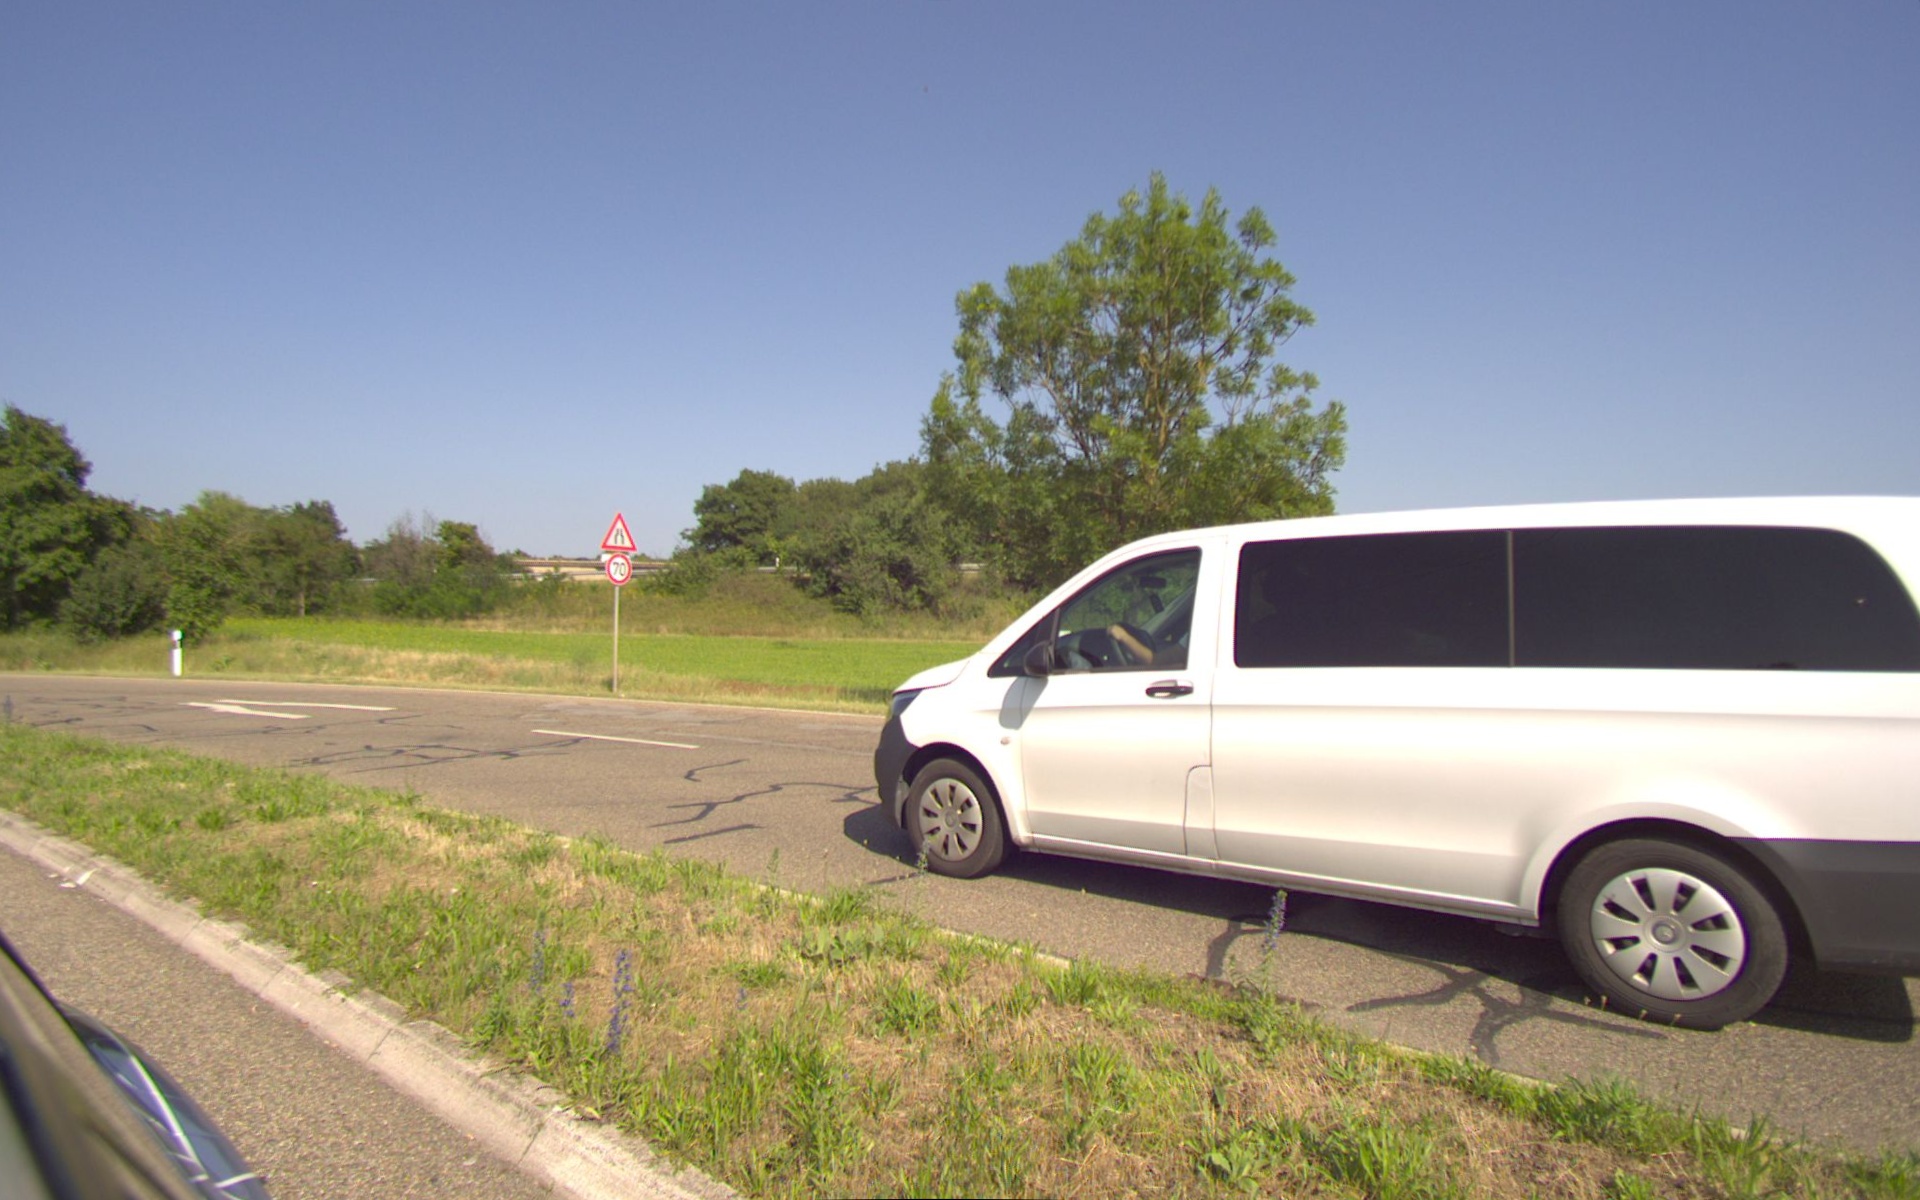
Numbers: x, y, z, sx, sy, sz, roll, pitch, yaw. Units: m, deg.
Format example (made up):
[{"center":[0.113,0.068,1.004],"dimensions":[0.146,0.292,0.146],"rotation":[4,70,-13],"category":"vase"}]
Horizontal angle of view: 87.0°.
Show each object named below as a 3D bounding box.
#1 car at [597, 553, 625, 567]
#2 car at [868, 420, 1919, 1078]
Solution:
[{"center":[-66.281,-7.626,192.292],"dimensions":[4.633,2.539,2.268],"rotation":[-1,0,7],"category":"car"},{"center":[2.023,0.476,4.898],"dimensions":[4.942,1.932,1.974],"rotation":[-2,-1,39],"category":"car"}]
